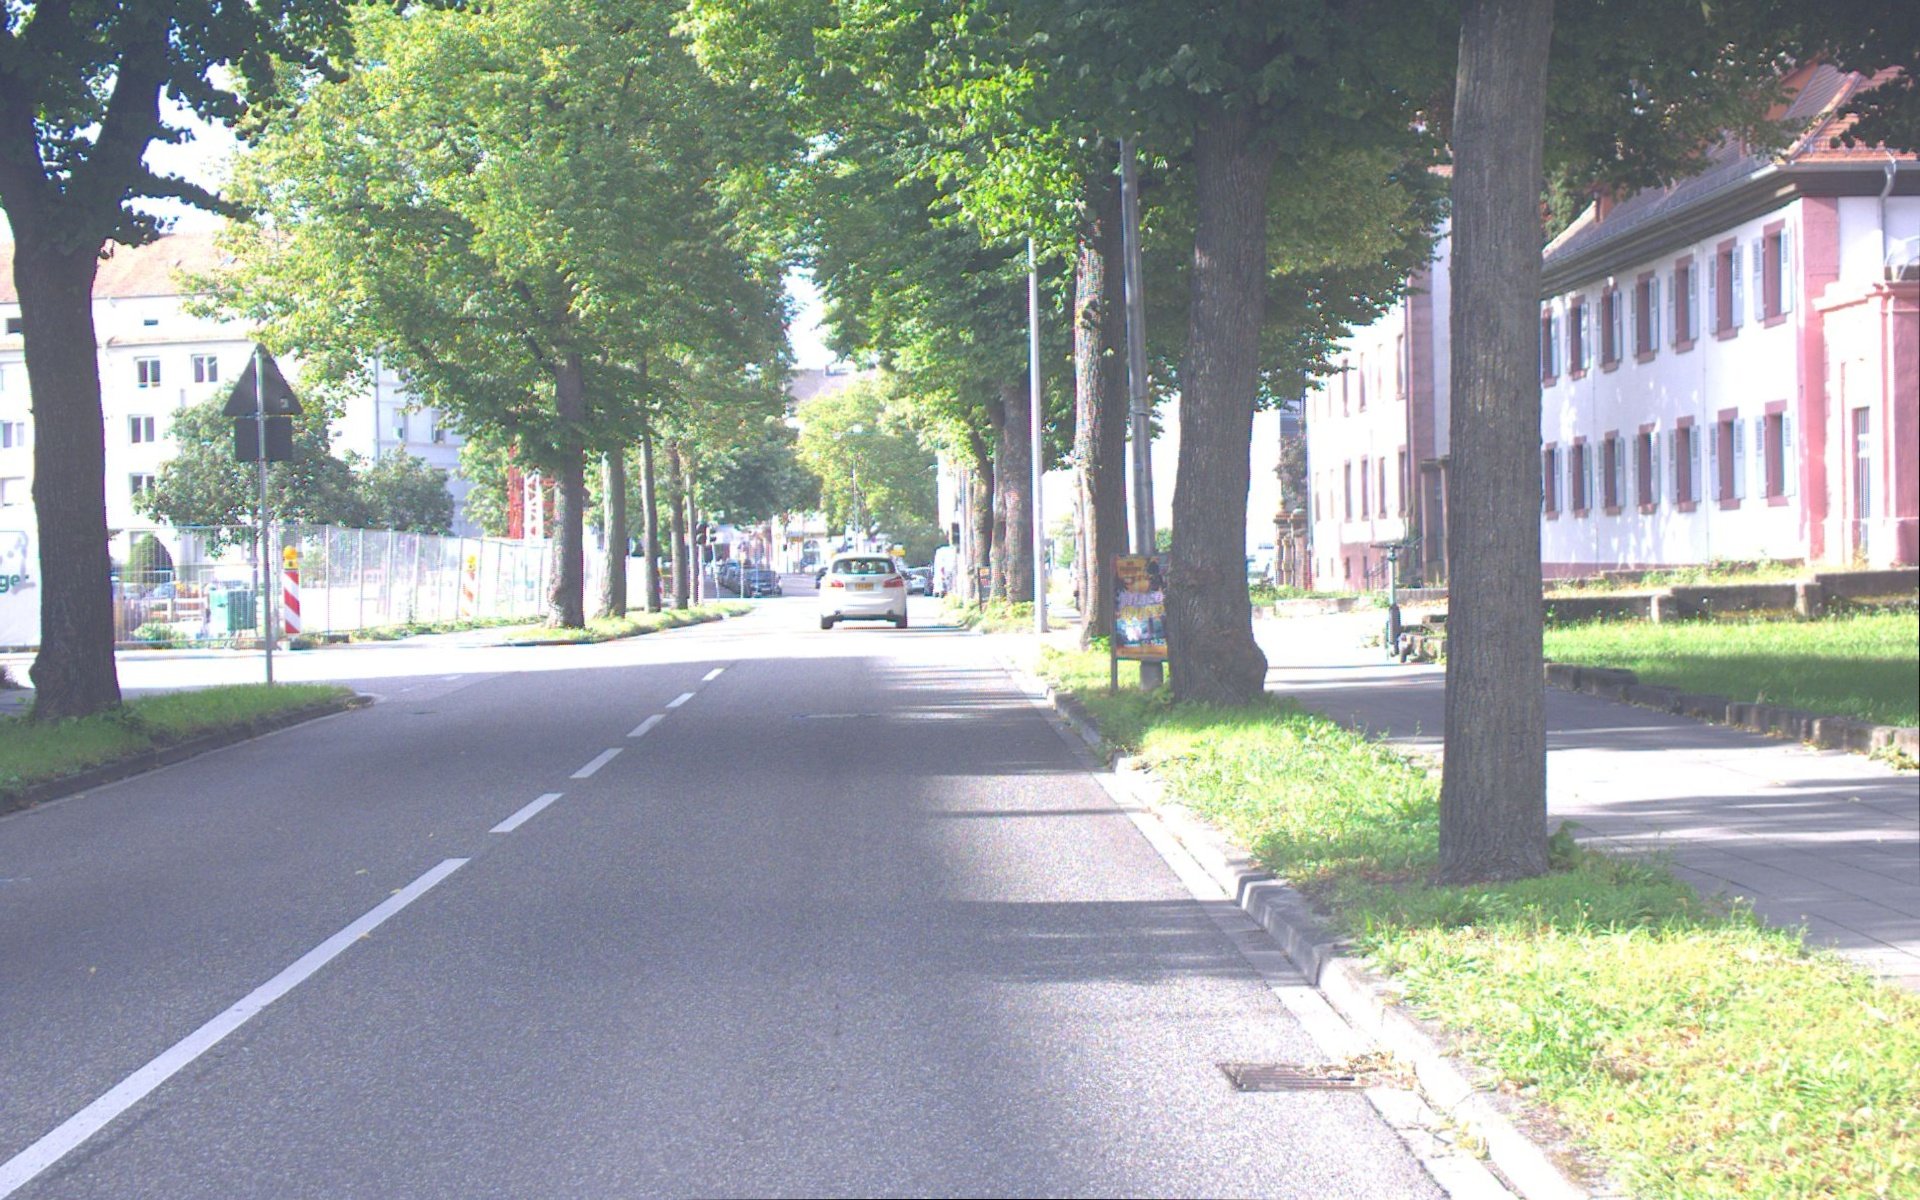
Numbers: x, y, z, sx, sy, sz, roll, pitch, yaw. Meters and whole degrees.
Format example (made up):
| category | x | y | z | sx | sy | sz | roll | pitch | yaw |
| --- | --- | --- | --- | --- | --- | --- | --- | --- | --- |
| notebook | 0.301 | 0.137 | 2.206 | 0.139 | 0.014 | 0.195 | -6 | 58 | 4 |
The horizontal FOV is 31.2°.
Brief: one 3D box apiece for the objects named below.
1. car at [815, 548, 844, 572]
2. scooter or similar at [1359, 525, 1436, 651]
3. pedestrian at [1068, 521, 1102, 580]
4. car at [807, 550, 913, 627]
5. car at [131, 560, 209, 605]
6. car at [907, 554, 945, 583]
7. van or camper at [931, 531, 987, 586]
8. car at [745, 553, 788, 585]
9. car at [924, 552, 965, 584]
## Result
| category | x | y | z | sx | sy | sz | roll | pitch | yaw |
| --- | --- | --- | --- | --- | --- | --- | --- | --- | --- |
| car | -9.355 | -2.863 | 246.871 | 1.993 | 1.749 | 4.000 | 0 | 0 | -1 |
| scooter or similar | 4.622 | -0.137 | 36.358 | 0.579 | 1.287 | 1.381 | -3 | 1 | 0 |
| pedestrian | 3.369 | -1.338 | 92.638 | 0.814 | 1.585 | 0.769 | -1 | 1 | -2 |
| car | -2.108 | -0.241 | 71.492 | 1.993 | 1.549 | 4.274 | 0 | 0 | -4 |
| car | -37.776 | -0.849 | 164.483 | 1.995 | 2.007 | 3.998 | -1 | 1 | 14 |
| car | -1.908 | -1.762 | 191.528 | 1.993 | 1.568 | 4.000 | -2 | 1 | -2 |
| van or camper | -0.088 | -2.069 | 170.063 | 2.209 | 2.598 | 5.372 | -2 | 1 | -5 |
| car | -10.492 | -1.693 | 186.266 | 1.993 | 1.634 | 4.001 | -2 | 1 | -8 |
| car | -0.829 | -1.693 | 180.988 | 1.993 | 1.568 | 4.000 | -2 | 1 | -2 |
